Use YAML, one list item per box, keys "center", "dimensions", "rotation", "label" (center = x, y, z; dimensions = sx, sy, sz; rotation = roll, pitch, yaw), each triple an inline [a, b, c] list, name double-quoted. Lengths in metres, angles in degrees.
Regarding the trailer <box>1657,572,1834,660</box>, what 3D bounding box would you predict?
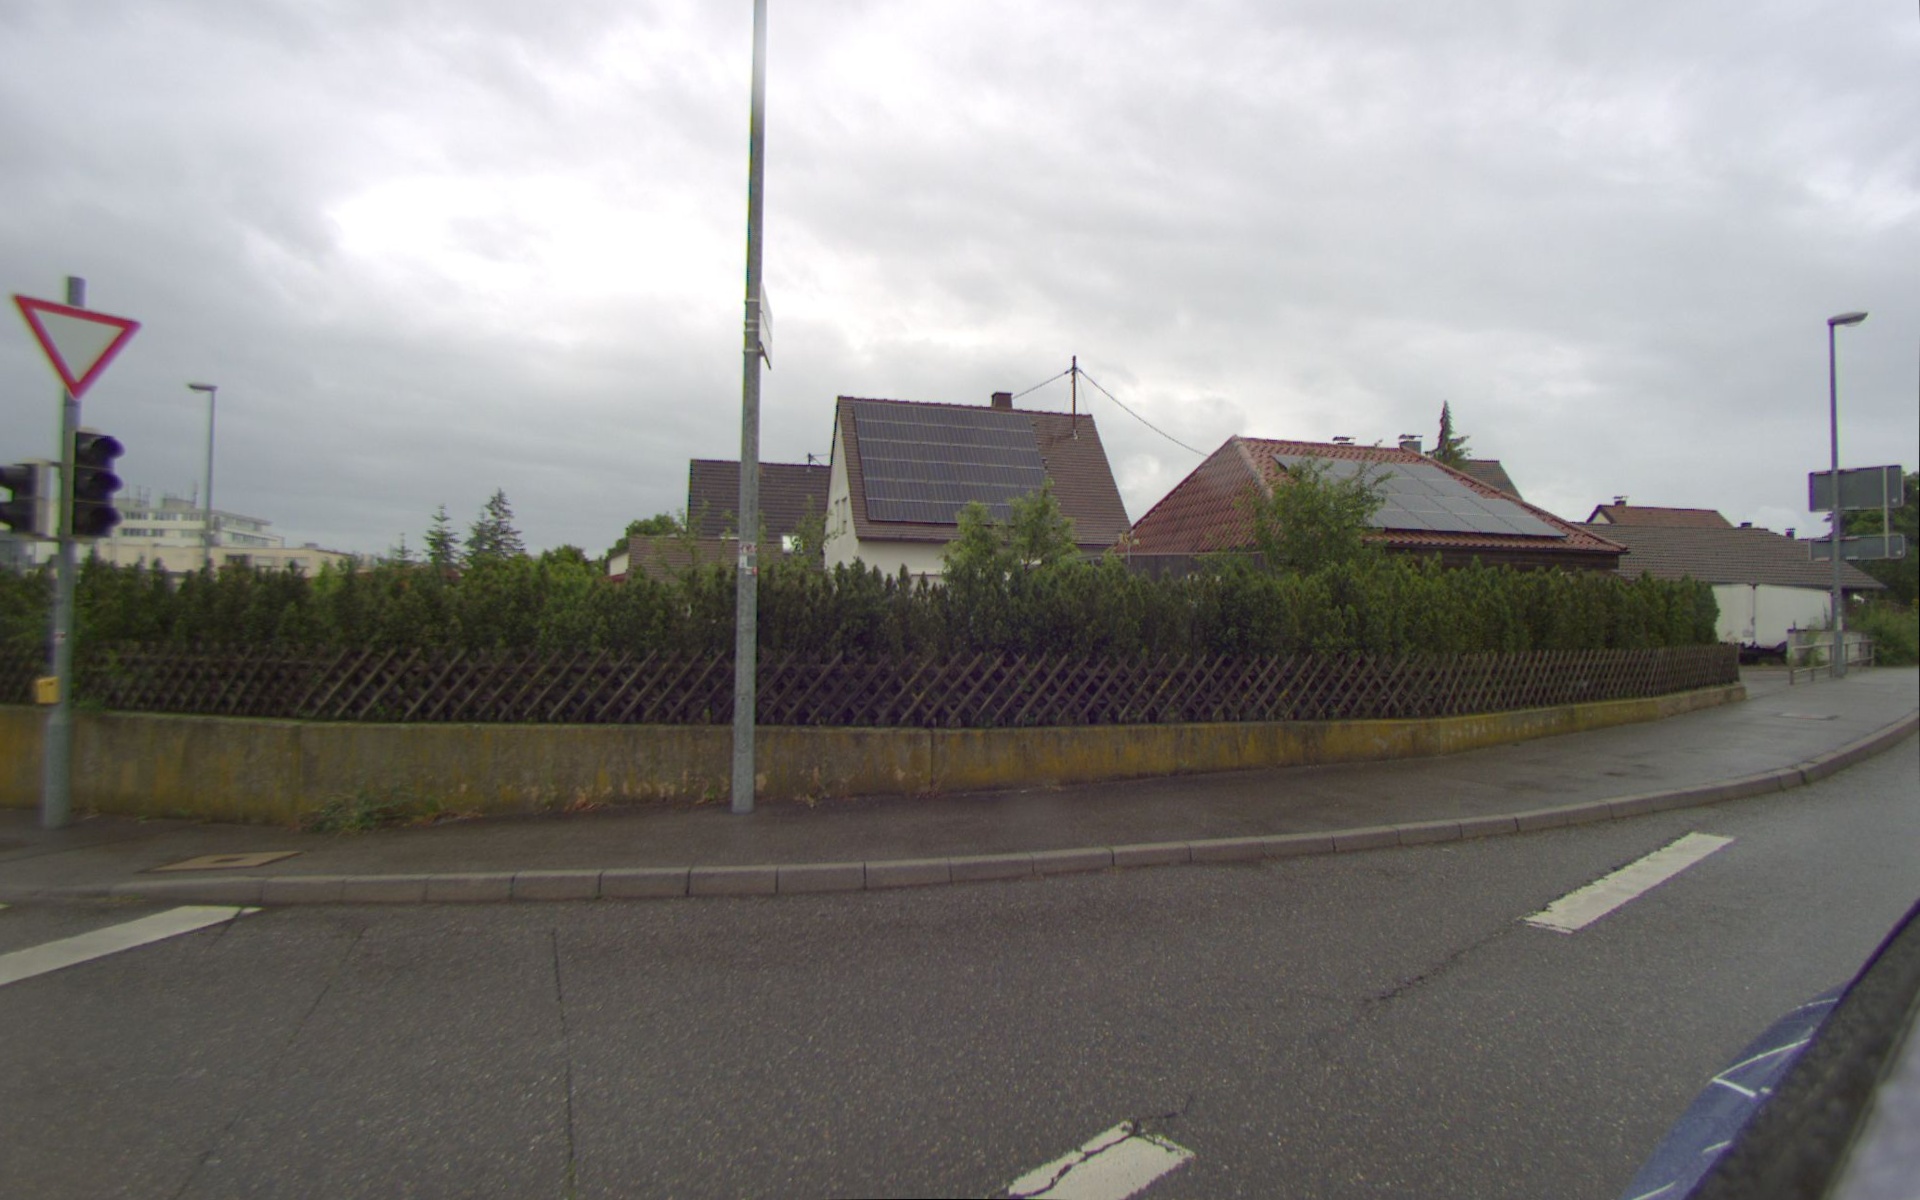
- center: [23.861, 0.491, 30.780]
  dimensions: [4.605, 2.550, 1.652]
  rotation: [0, -2, -13]
  label: "trailer"
